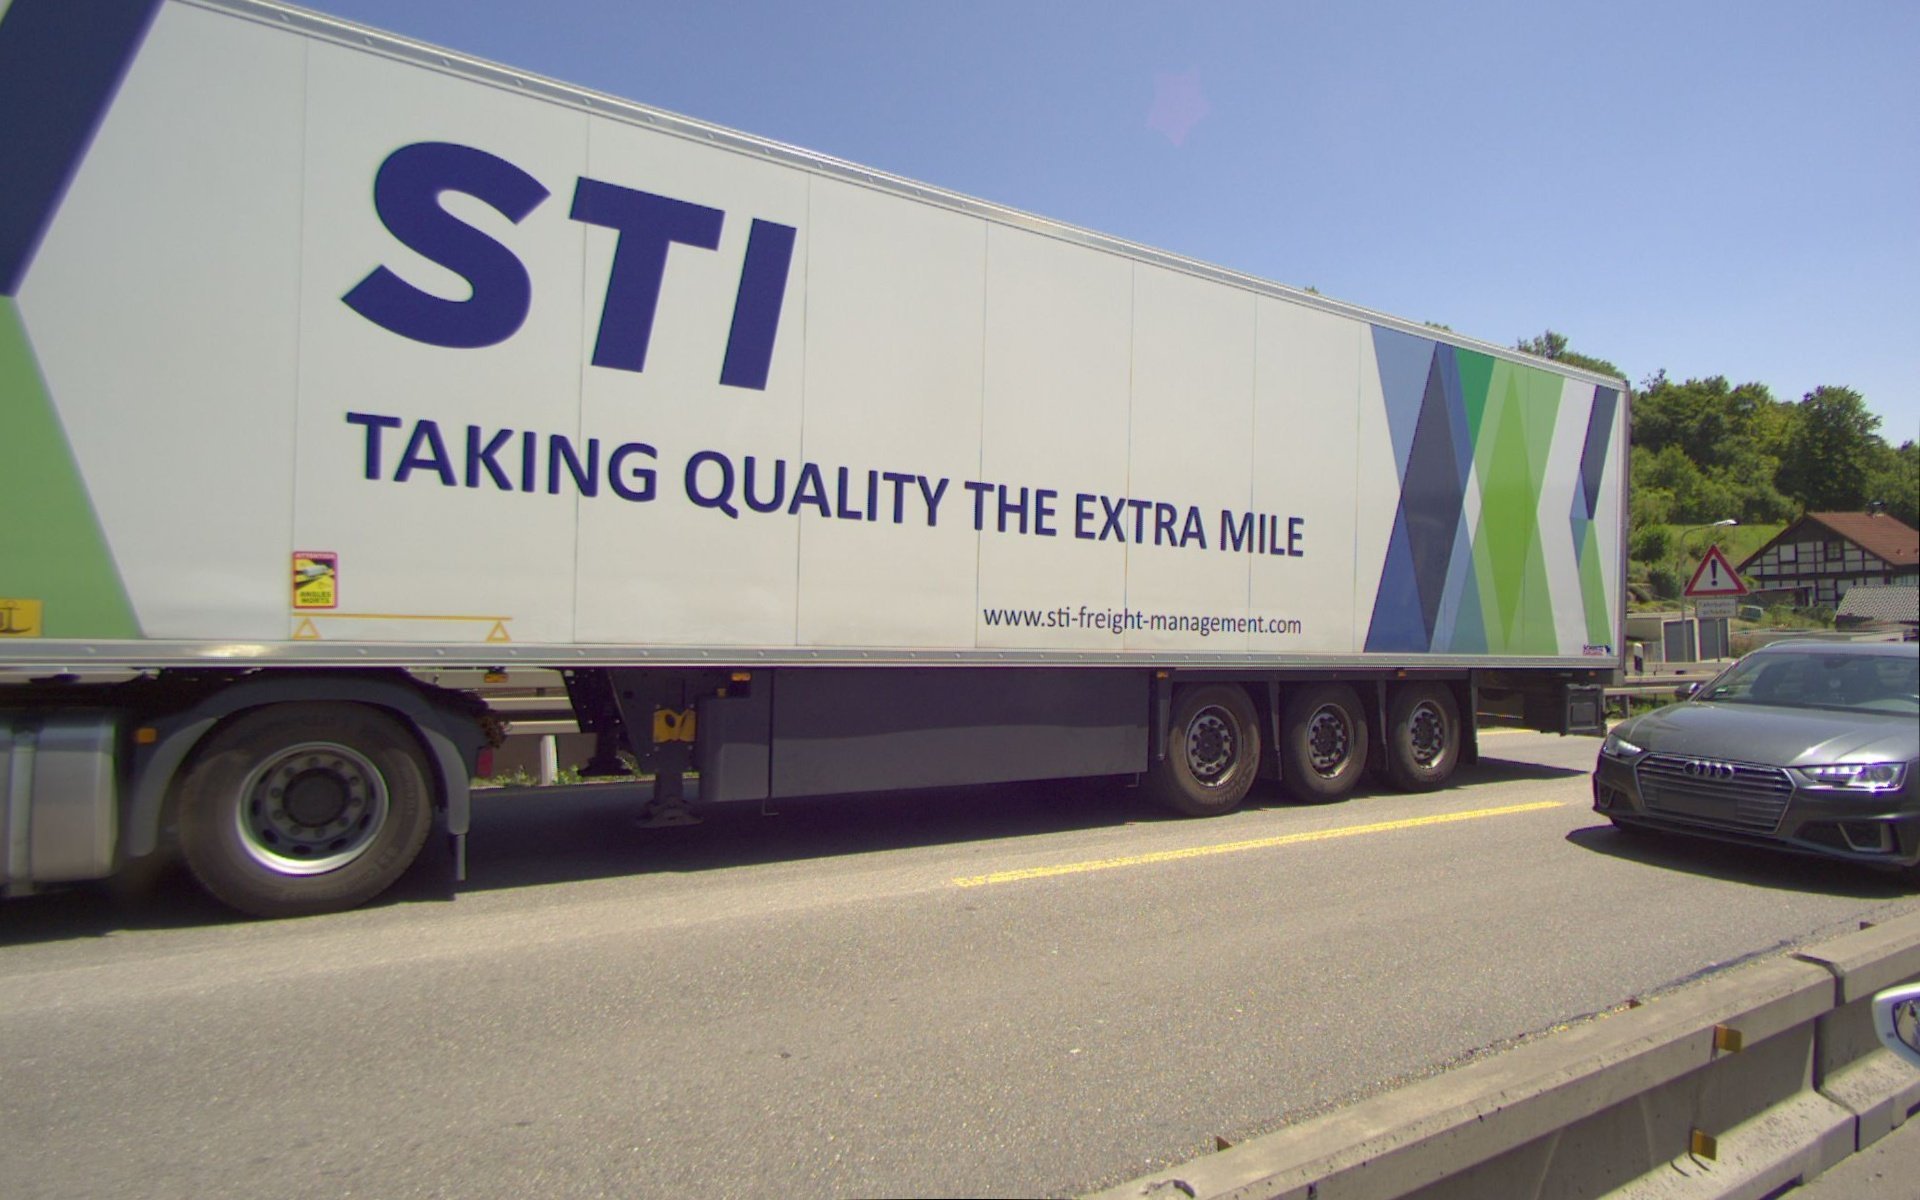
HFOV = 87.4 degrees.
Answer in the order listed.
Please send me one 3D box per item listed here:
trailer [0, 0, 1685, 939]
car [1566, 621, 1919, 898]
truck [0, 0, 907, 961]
[{"bbox_3d":[0.688,-0.693,8.327,13.895,4.436,3.236,3,0,-31],"label":"trailer"},{"bbox_3d":[6.599,0.958,7.321,4.581,1.472,1.782,3,-2,-30],"label":"car"},{"bbox_3d":[-4.728,-0.846,5.156,8.206,4.420,3.287,3,0,-31],"label":"truck"}]
